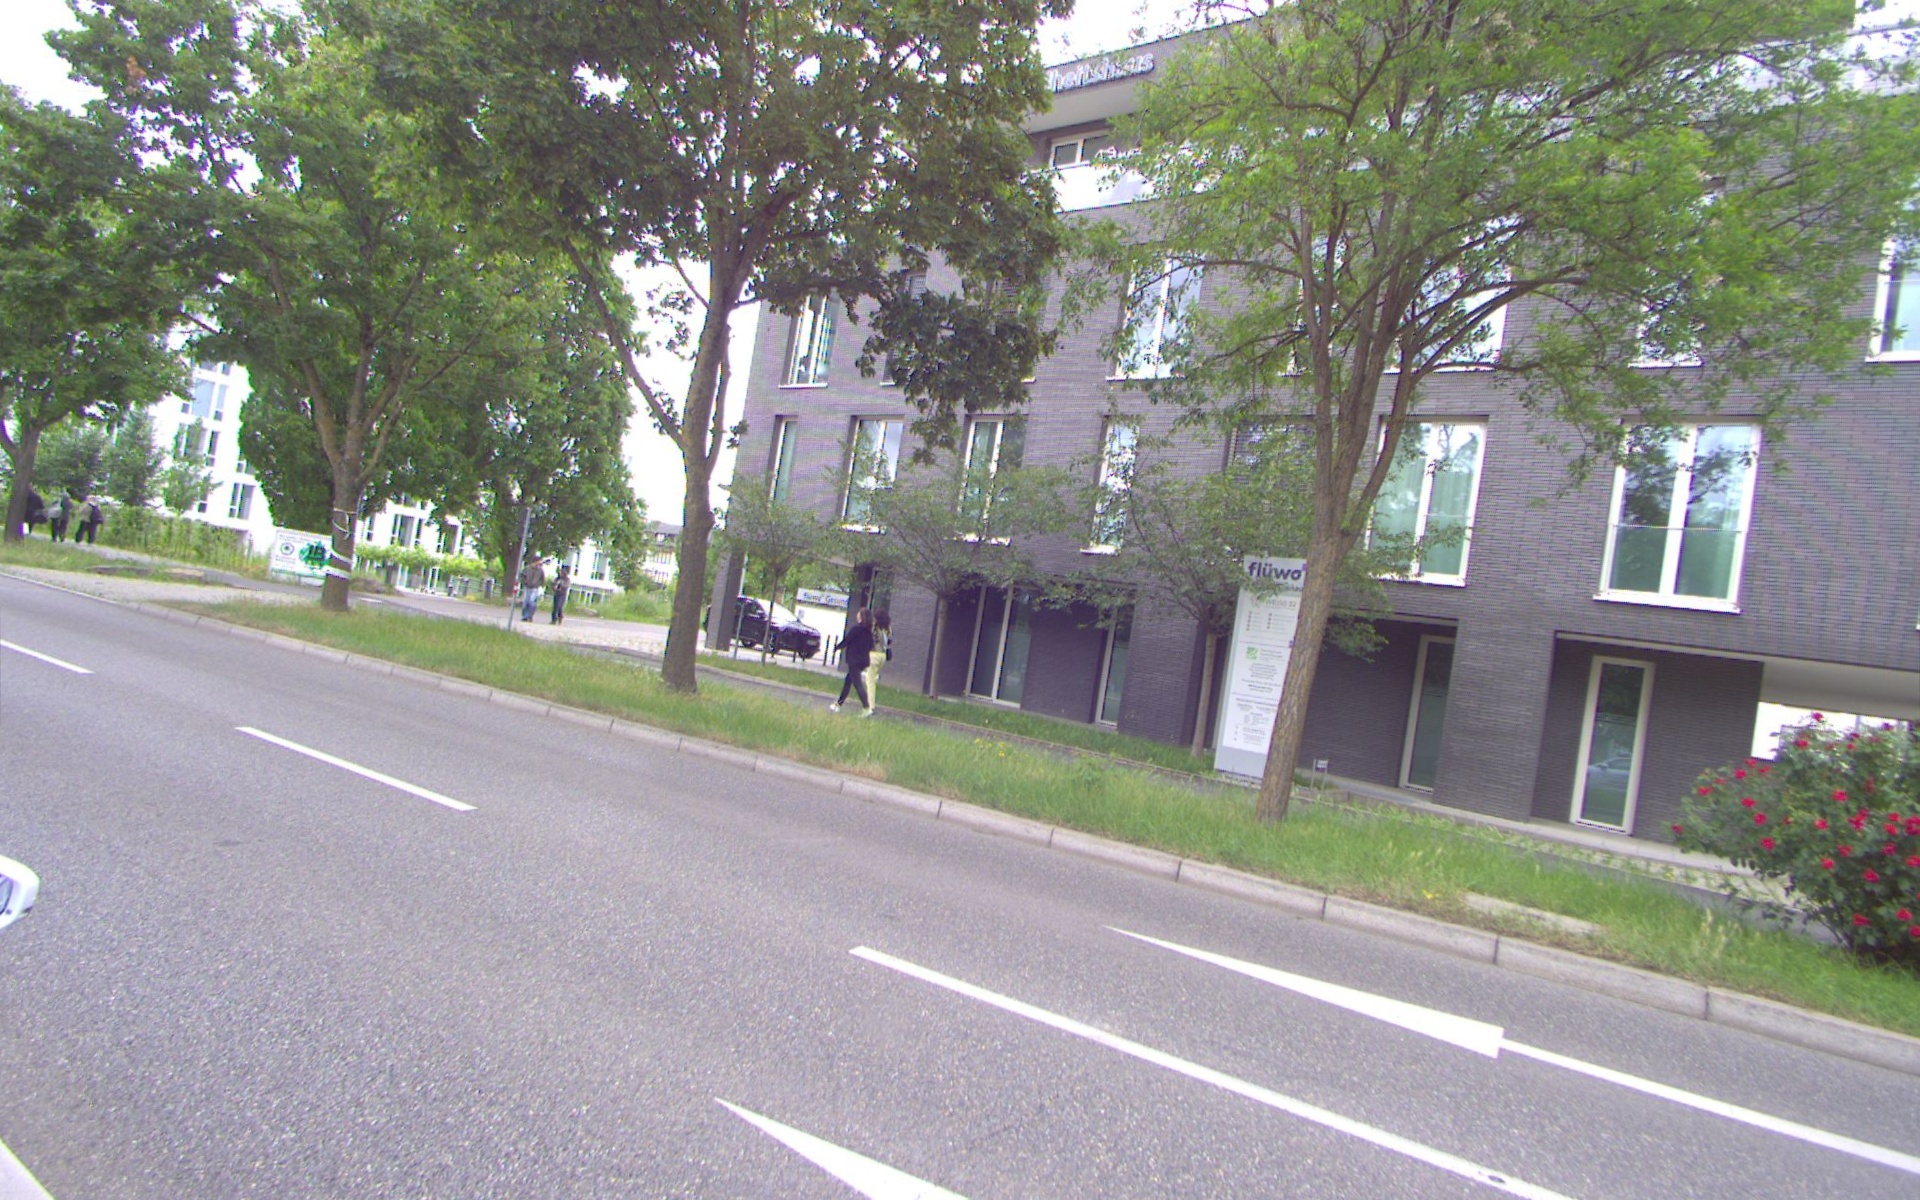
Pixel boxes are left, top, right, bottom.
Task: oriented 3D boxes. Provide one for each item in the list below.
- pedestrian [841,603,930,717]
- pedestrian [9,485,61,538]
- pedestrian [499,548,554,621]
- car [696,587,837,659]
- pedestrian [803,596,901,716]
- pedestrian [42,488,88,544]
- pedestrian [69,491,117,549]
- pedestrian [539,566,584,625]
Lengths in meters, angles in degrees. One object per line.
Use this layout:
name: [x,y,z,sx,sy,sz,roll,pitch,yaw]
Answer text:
pedestrian: [-1.203,0.973,16.233,0.937,1.679,0.779,7,-1,38]
pedestrian: [-28.638,-2.732,31.152,1.093,1.465,0.791,6,-1,31]
pedestrian: [-12.272,-0.419,28.511,0.946,1.889,0.978,8,-1,-8]
car: [-6.110,0.716,31.676,4.080,1.665,1.759,7,-2,32]
pedestrian: [-1.672,0.863,15.596,1.043,1.679,0.796,7,-1,38]
pedestrian: [-28.183,-2.651,31.668,0.868,1.614,0.701,6,-1,31]
pedestrian: [-27.884,-2.584,32.367,0.868,1.705,0.768,6,-1,31]
pedestrian: [-11.518,-0.108,29.076,0.821,1.575,0.875,8,-1,-8]
